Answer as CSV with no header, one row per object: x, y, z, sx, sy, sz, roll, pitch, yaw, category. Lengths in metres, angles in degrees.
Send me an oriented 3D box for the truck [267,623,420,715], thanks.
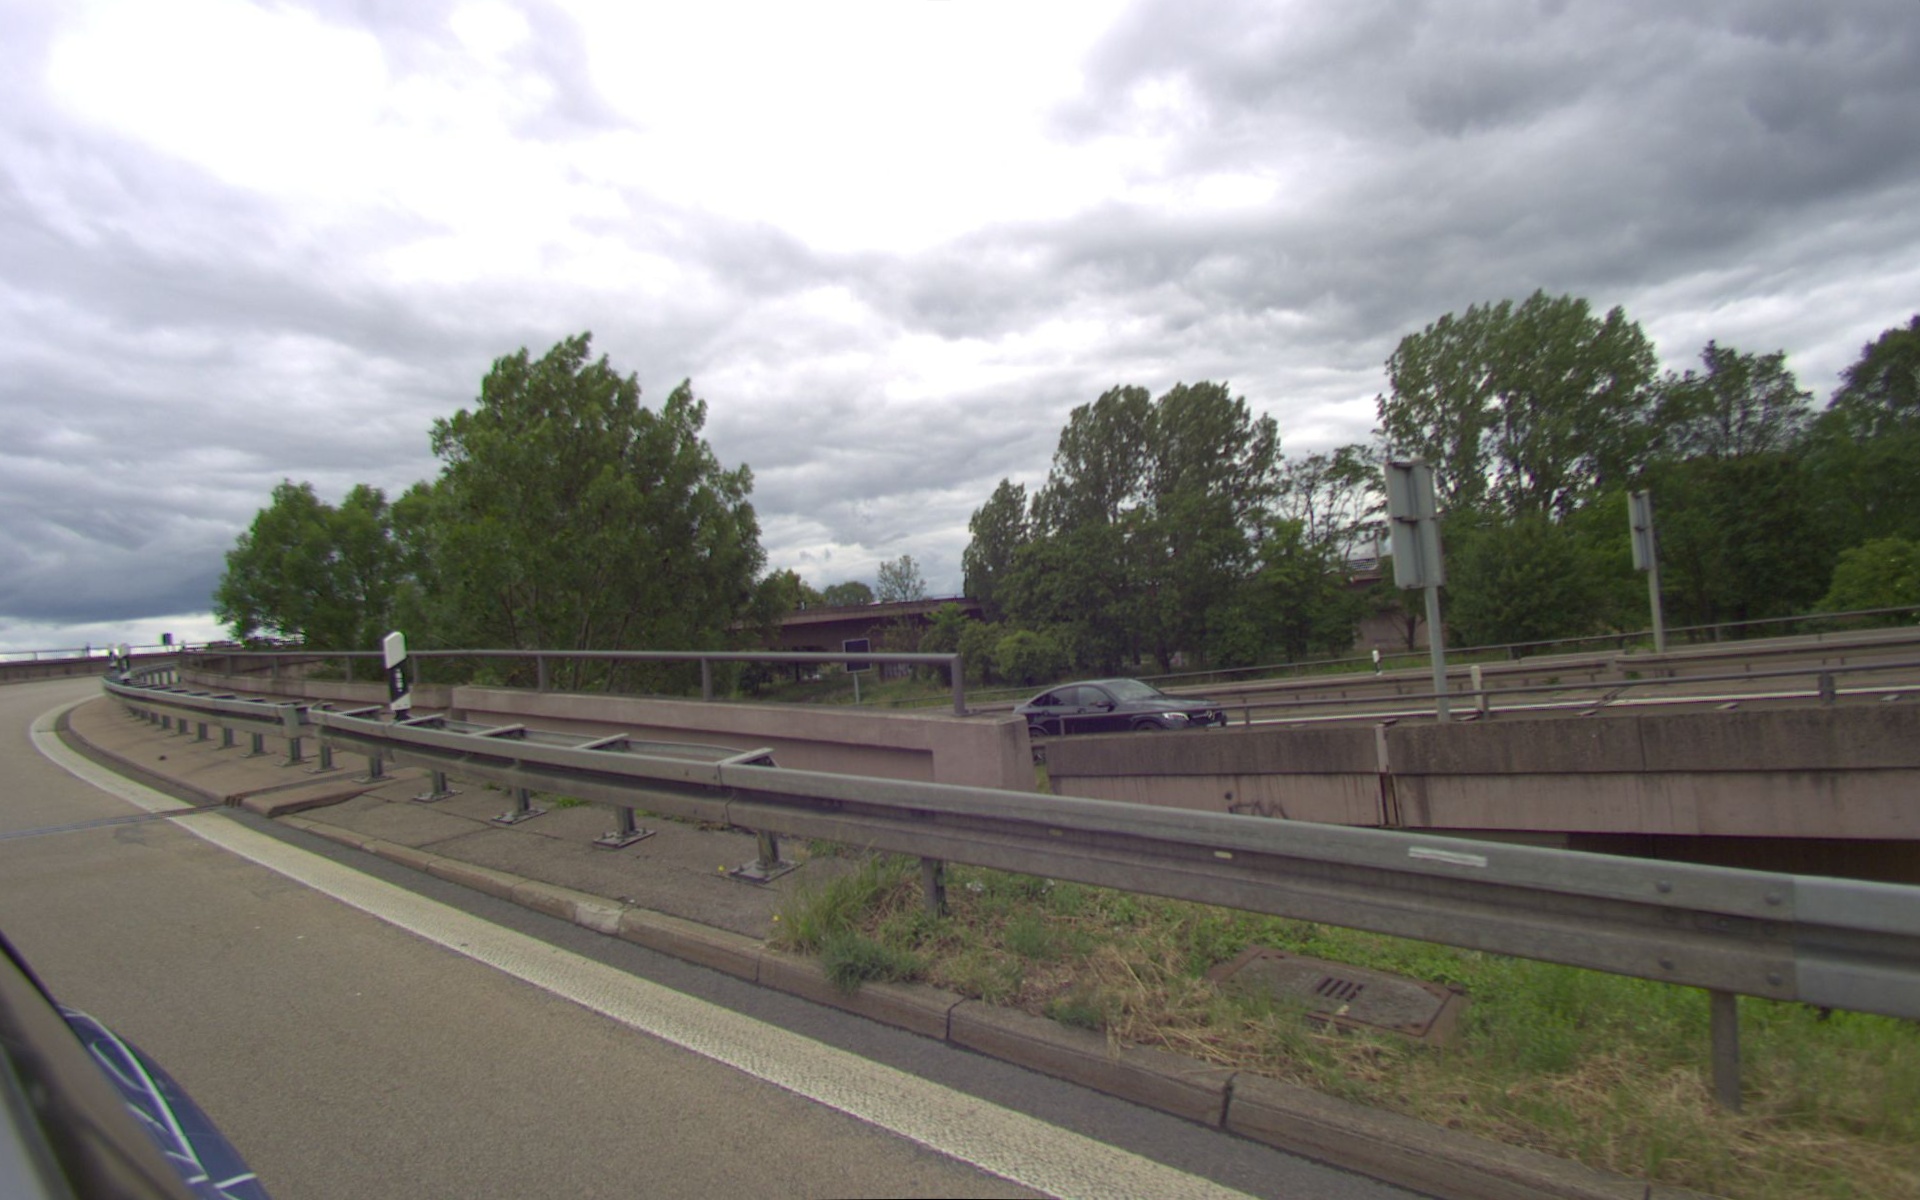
-33.832,3.670,55.814,4.122,4.335,5.948,-5,-1,9,truck

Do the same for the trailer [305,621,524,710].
-32.897,3.732,62.315,4.082,4.275,13.852,-5,-1,9,trailer
